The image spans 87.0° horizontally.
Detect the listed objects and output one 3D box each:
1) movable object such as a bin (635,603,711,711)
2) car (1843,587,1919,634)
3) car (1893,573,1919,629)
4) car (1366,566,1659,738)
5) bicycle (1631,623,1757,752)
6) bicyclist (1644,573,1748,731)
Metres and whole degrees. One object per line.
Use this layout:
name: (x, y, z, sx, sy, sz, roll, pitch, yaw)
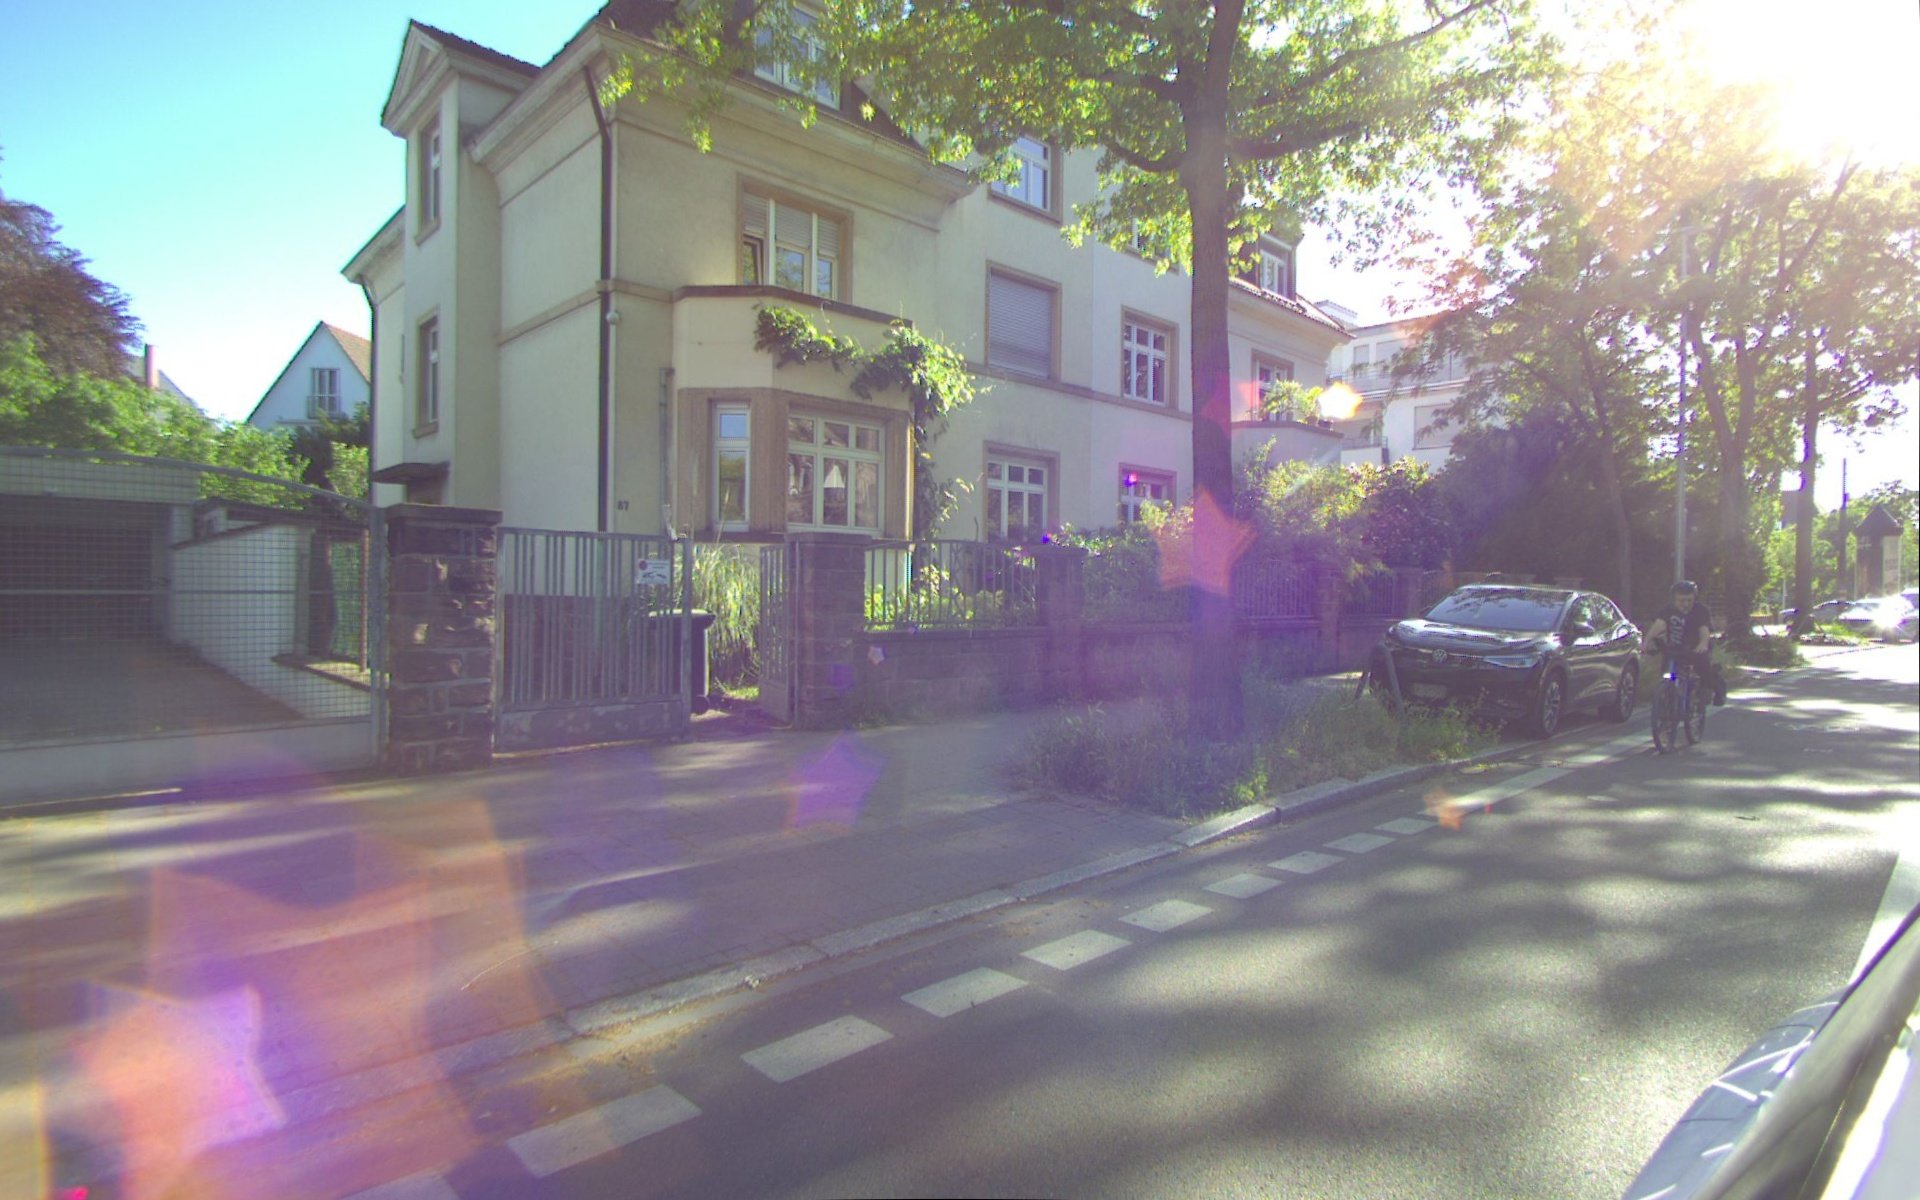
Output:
movable object such as a bin: (-3.089, 0.575, 10.831, 0.697, 1.070, 1.093, 0, 0, -20)
car: (31.557, 0.325, 34.427, 3.930, 1.469, 1.785, 0, 1, -41)
car: (36.792, 0.036, 38.089, 4.503, 2.039, 1.997, 0, 1, -41)
car: (6.676, 0.488, 12.052, 4.021, 1.626, 1.743, 0, 4, -42)
bicycle: (7.487, 0.838, 10.292, 1.783, 1.158, 0.644, 0, 0, -41)
bicyclist: (7.485, 0.489, 10.280, 1.095, 1.506, 0.622, 0, 0, -41)
